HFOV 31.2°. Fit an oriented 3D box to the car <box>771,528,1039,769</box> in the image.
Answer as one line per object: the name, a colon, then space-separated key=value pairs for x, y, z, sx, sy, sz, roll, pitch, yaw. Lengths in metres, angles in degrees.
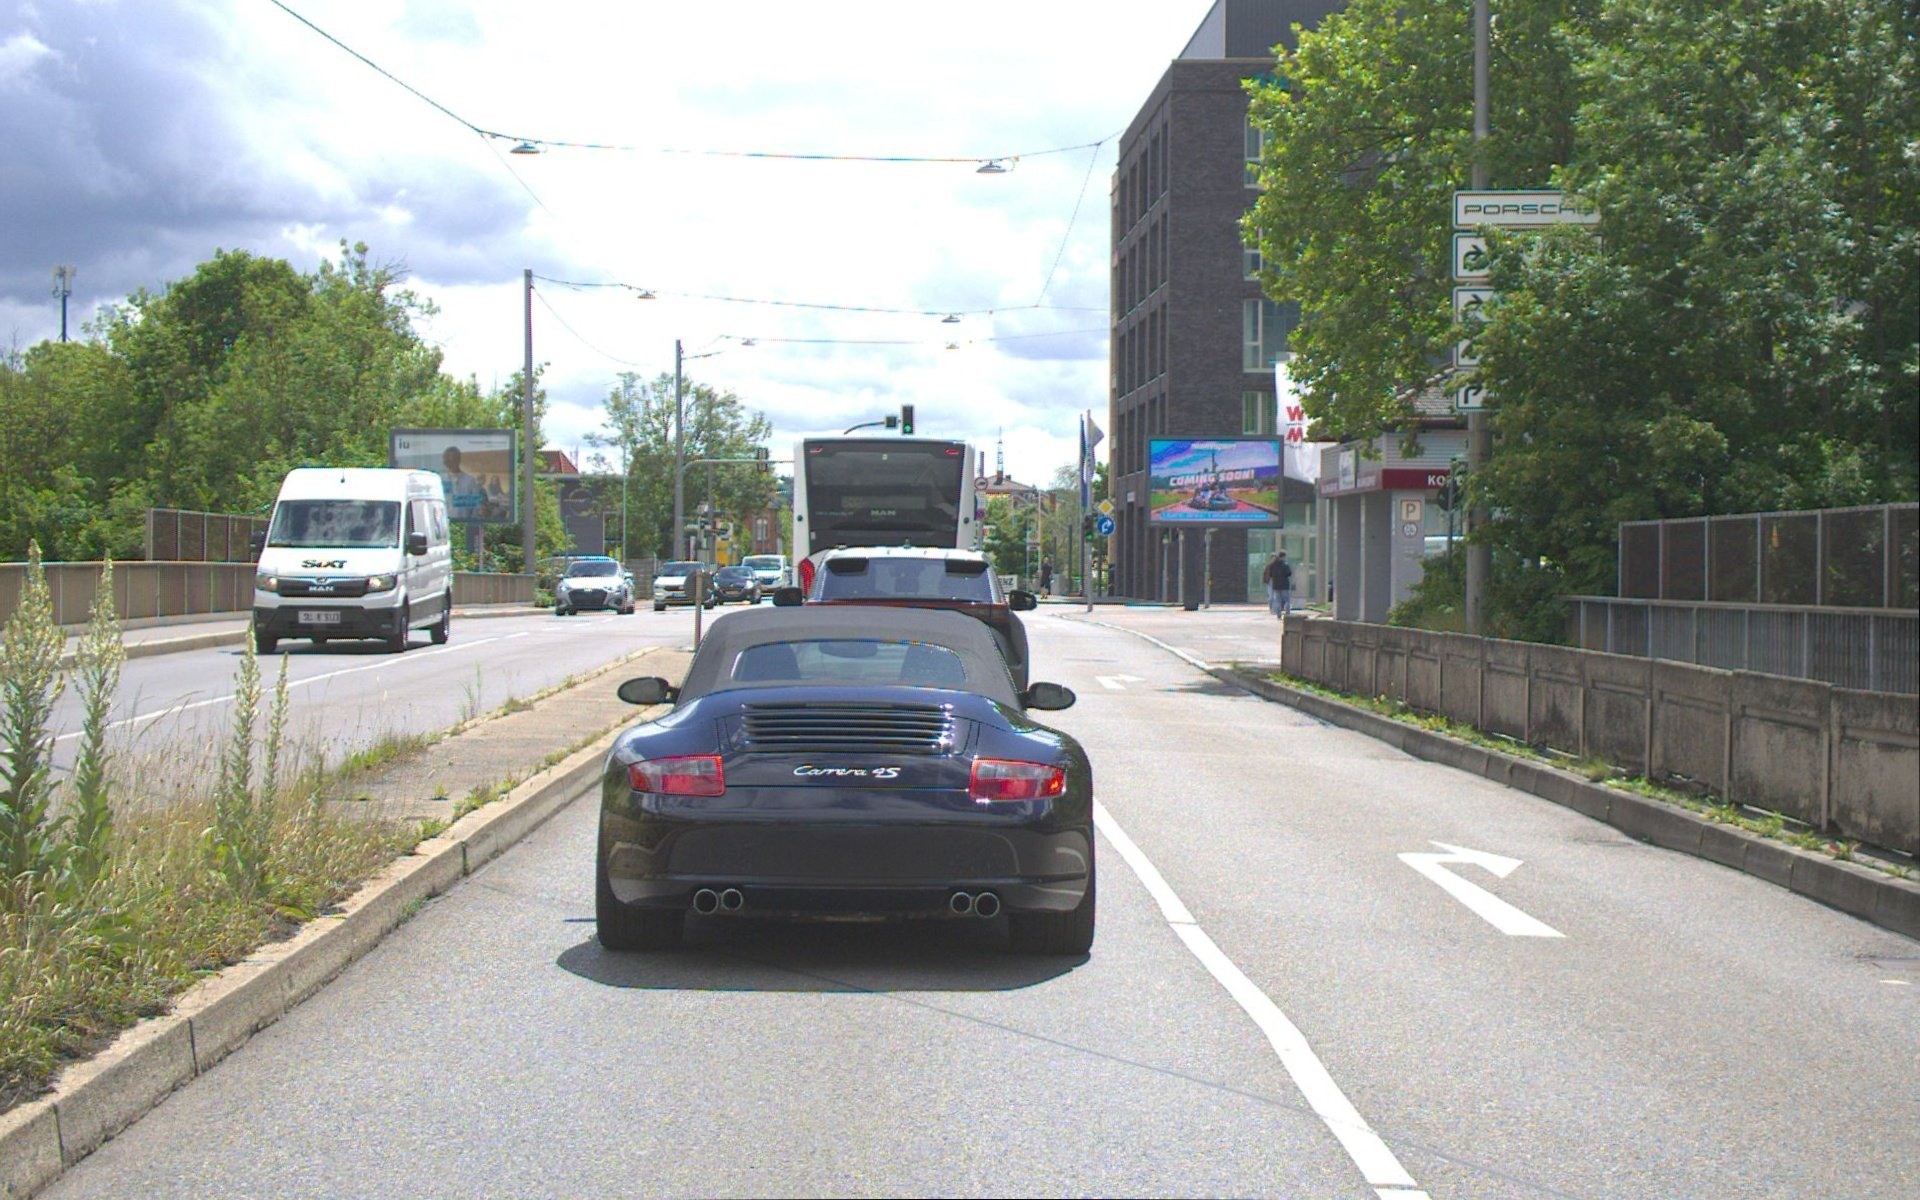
car: x=-0.433 y=0.308 z=26.945 sx=1.879 sy=1.588 sz=4.230 roll=2 pitch=2 yaw=-1

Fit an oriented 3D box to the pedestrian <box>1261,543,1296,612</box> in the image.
pedestrian: x=7.845 y=-0.558 z=84.719 sx=0.681 sy=1.690 sz=0.597 roll=1 pitch=0 yaw=25

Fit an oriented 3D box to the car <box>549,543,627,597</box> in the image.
car: x=-9.590 y=-0.795 z=88.844 sx=1.637 sy=1.358 sz=4.195 roll=0 pitch=1 yaw=-1

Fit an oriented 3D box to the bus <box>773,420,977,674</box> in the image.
bus: x=-1.161 y=-1.034 z=53.216 sx=2.689 sy=3.244 sz=12.060 roll=2 pitch=4 yaw=0

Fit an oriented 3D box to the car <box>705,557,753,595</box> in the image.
car: x=-8.836 y=-0.929 z=131.887 sx=1.628 sy=1.425 sz=4.000 roll=1 pitch=0 yaw=-1

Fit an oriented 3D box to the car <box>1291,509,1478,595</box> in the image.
car: x=10.231 y=-1.149 z=83.104 sx=4.230 sy=1.930 sz=2.029 roll=-2 pitch=0 yaw=1

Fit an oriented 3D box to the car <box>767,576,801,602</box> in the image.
car: x=-9.483 y=-0.592 z=185.197 sx=1.662 sy=1.411 sz=3.803 roll=0 pitch=0 yaw=0

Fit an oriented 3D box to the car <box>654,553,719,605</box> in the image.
car: x=-8.583 y=-0.674 z=108.109 sx=1.810 sy=1.555 sz=4.208 roll=1 pitch=1 yaw=-2

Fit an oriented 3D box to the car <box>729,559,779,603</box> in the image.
car: x=-8.986 y=-0.831 z=150.302 sx=1.901 sy=1.880 sz=5.313 roll=-1 pitch=0 yaw=-1

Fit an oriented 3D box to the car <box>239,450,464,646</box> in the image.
car: x=-8.535 y=-0.745 z=48.866 sx=2.066 sy=2.562 sz=6.822 roll=-1 pitch=1 yaw=-1

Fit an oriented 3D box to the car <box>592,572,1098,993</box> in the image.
car: x=-0.483 y=0.620 z=13.965 sx=1.719 sy=1.271 sz=4.089 roll=1 pitch=3 yaw=-2
